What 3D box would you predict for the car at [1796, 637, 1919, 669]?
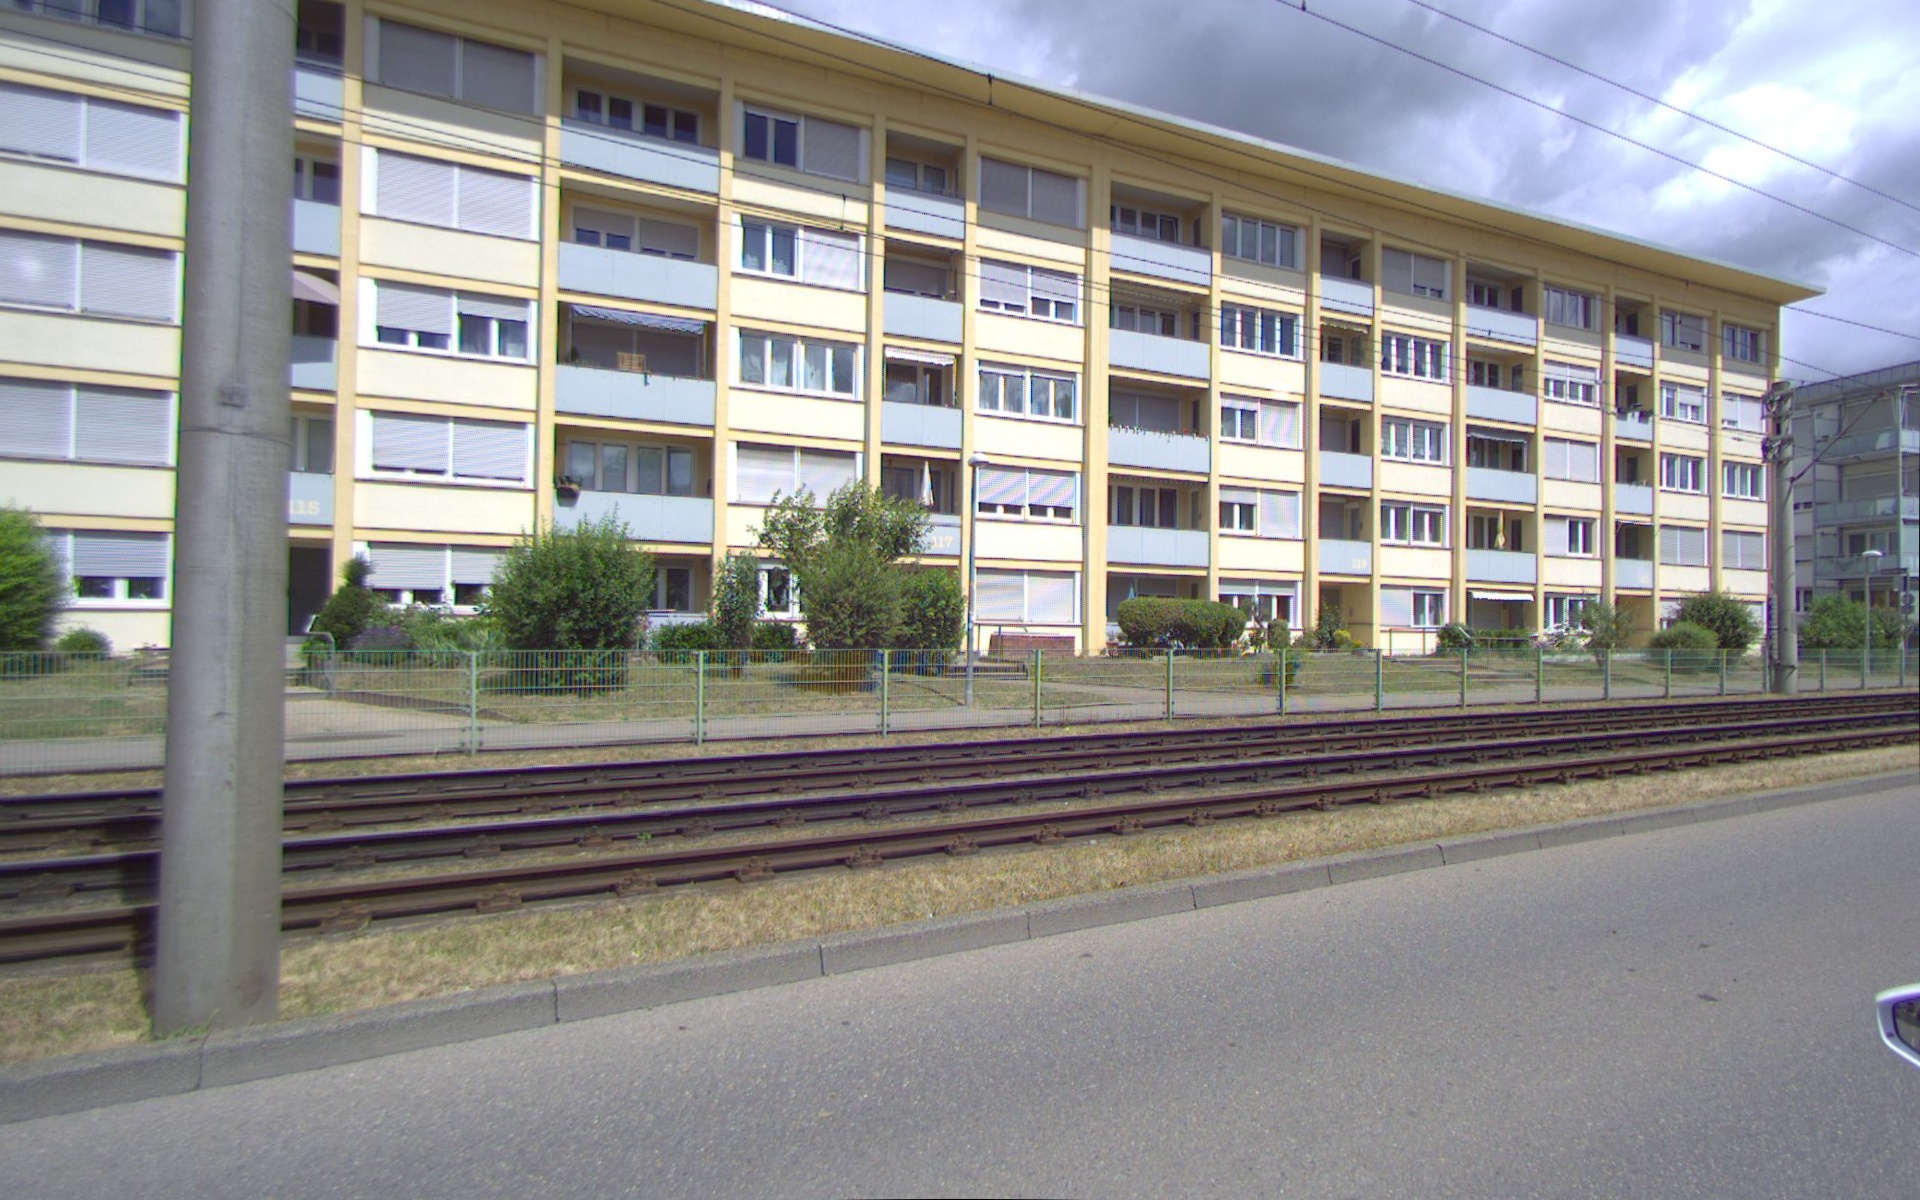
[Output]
[{"bbox_3d":[41.209,2.408,46.135,1.872,1.363,3.982,1,-2,-20],"label":"car"}]
